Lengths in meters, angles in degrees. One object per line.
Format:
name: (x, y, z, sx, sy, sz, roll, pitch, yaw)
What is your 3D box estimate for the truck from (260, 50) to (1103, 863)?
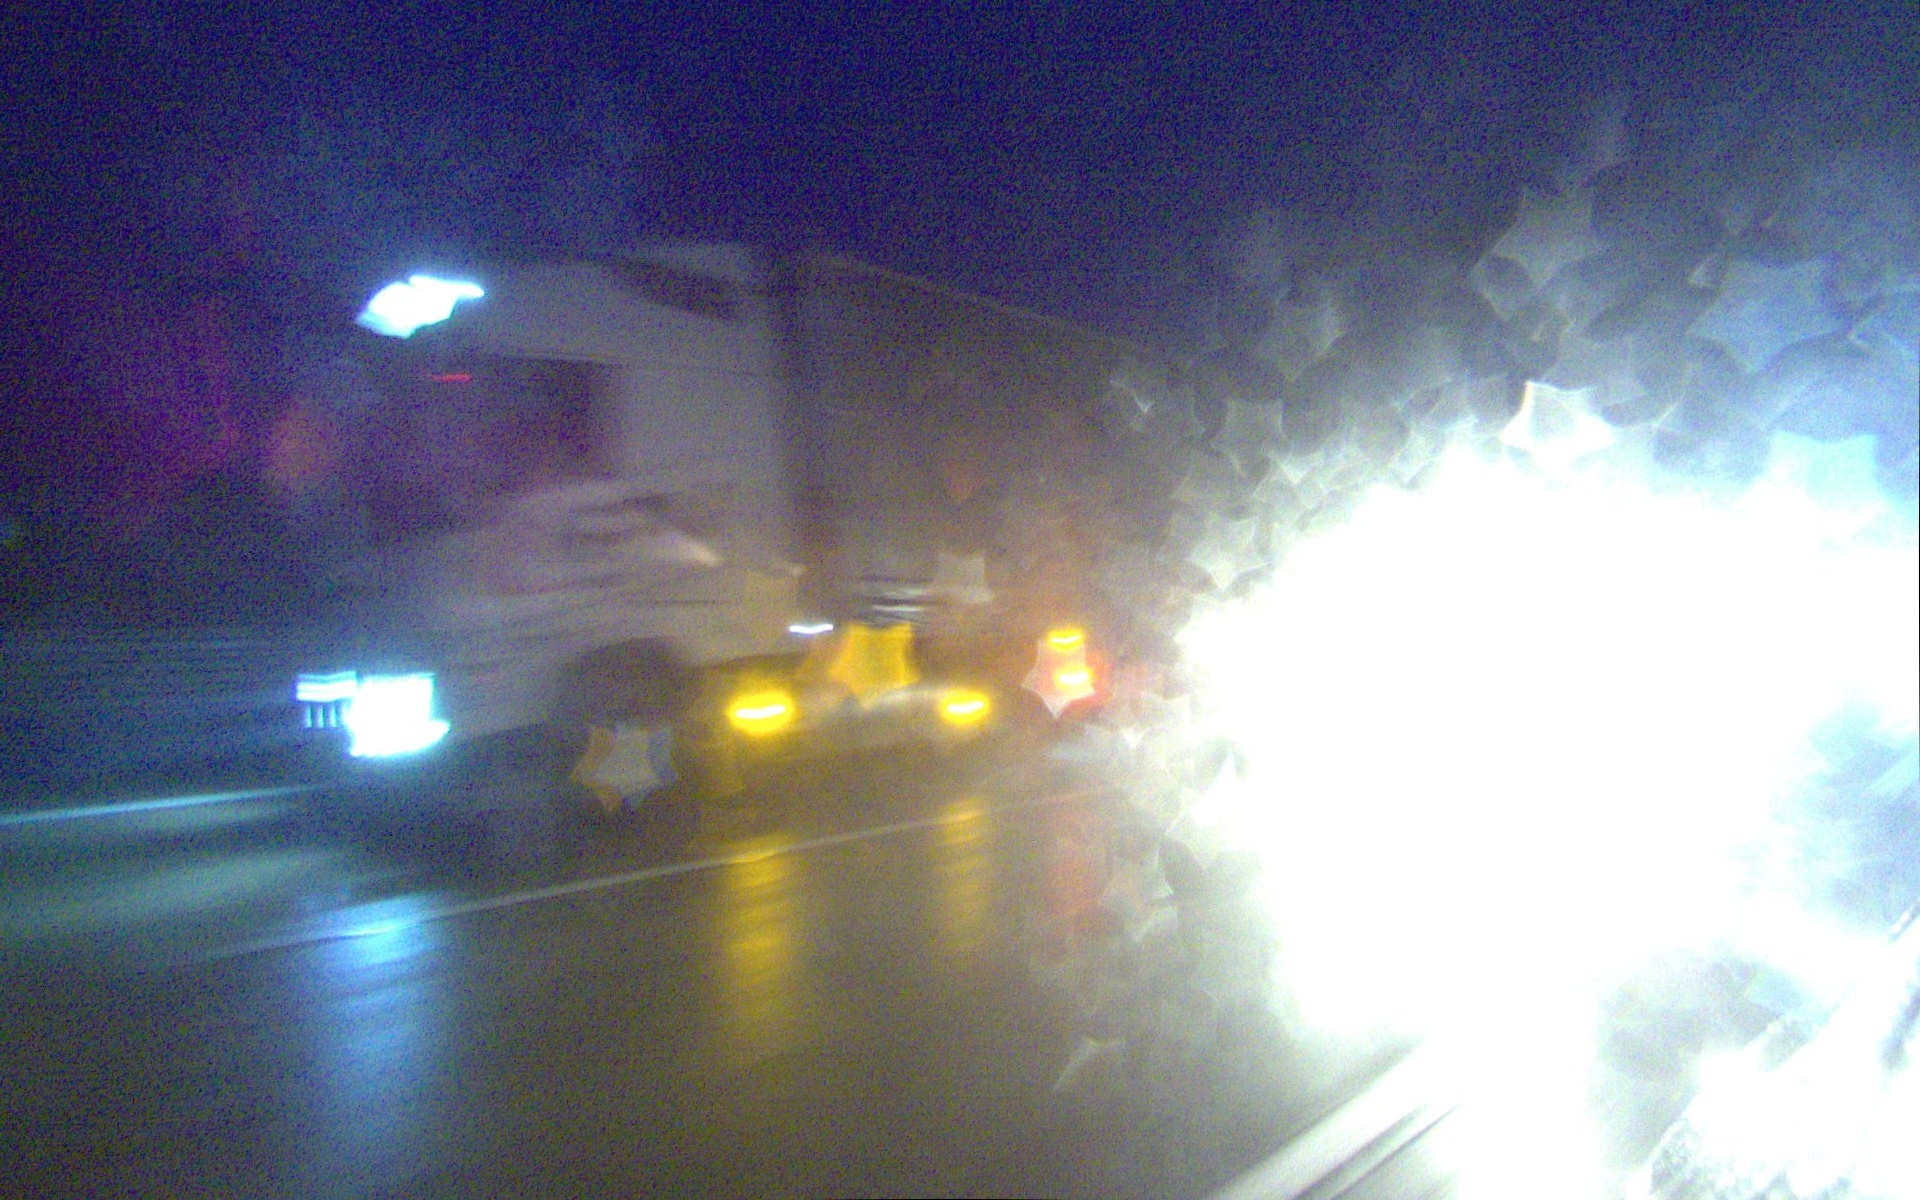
truck: (-1.931, -0.777, 8.258, 5.926, 4.159, 2.909, 0, 2, -41)

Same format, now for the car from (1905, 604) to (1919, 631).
car: (54.482, 0.994, 56.981, 3.946, 1.522, 1.641, 1, 0, -44)

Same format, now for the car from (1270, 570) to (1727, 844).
car: (4.438, 0.596, 8.006, 4.416, 1.595, 1.743, 0, 1, -41)

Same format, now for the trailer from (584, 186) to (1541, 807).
trailer: (2.966, -0.743, 12.607, 14.235, 4.159, 2.908, 0, 2, -41)
